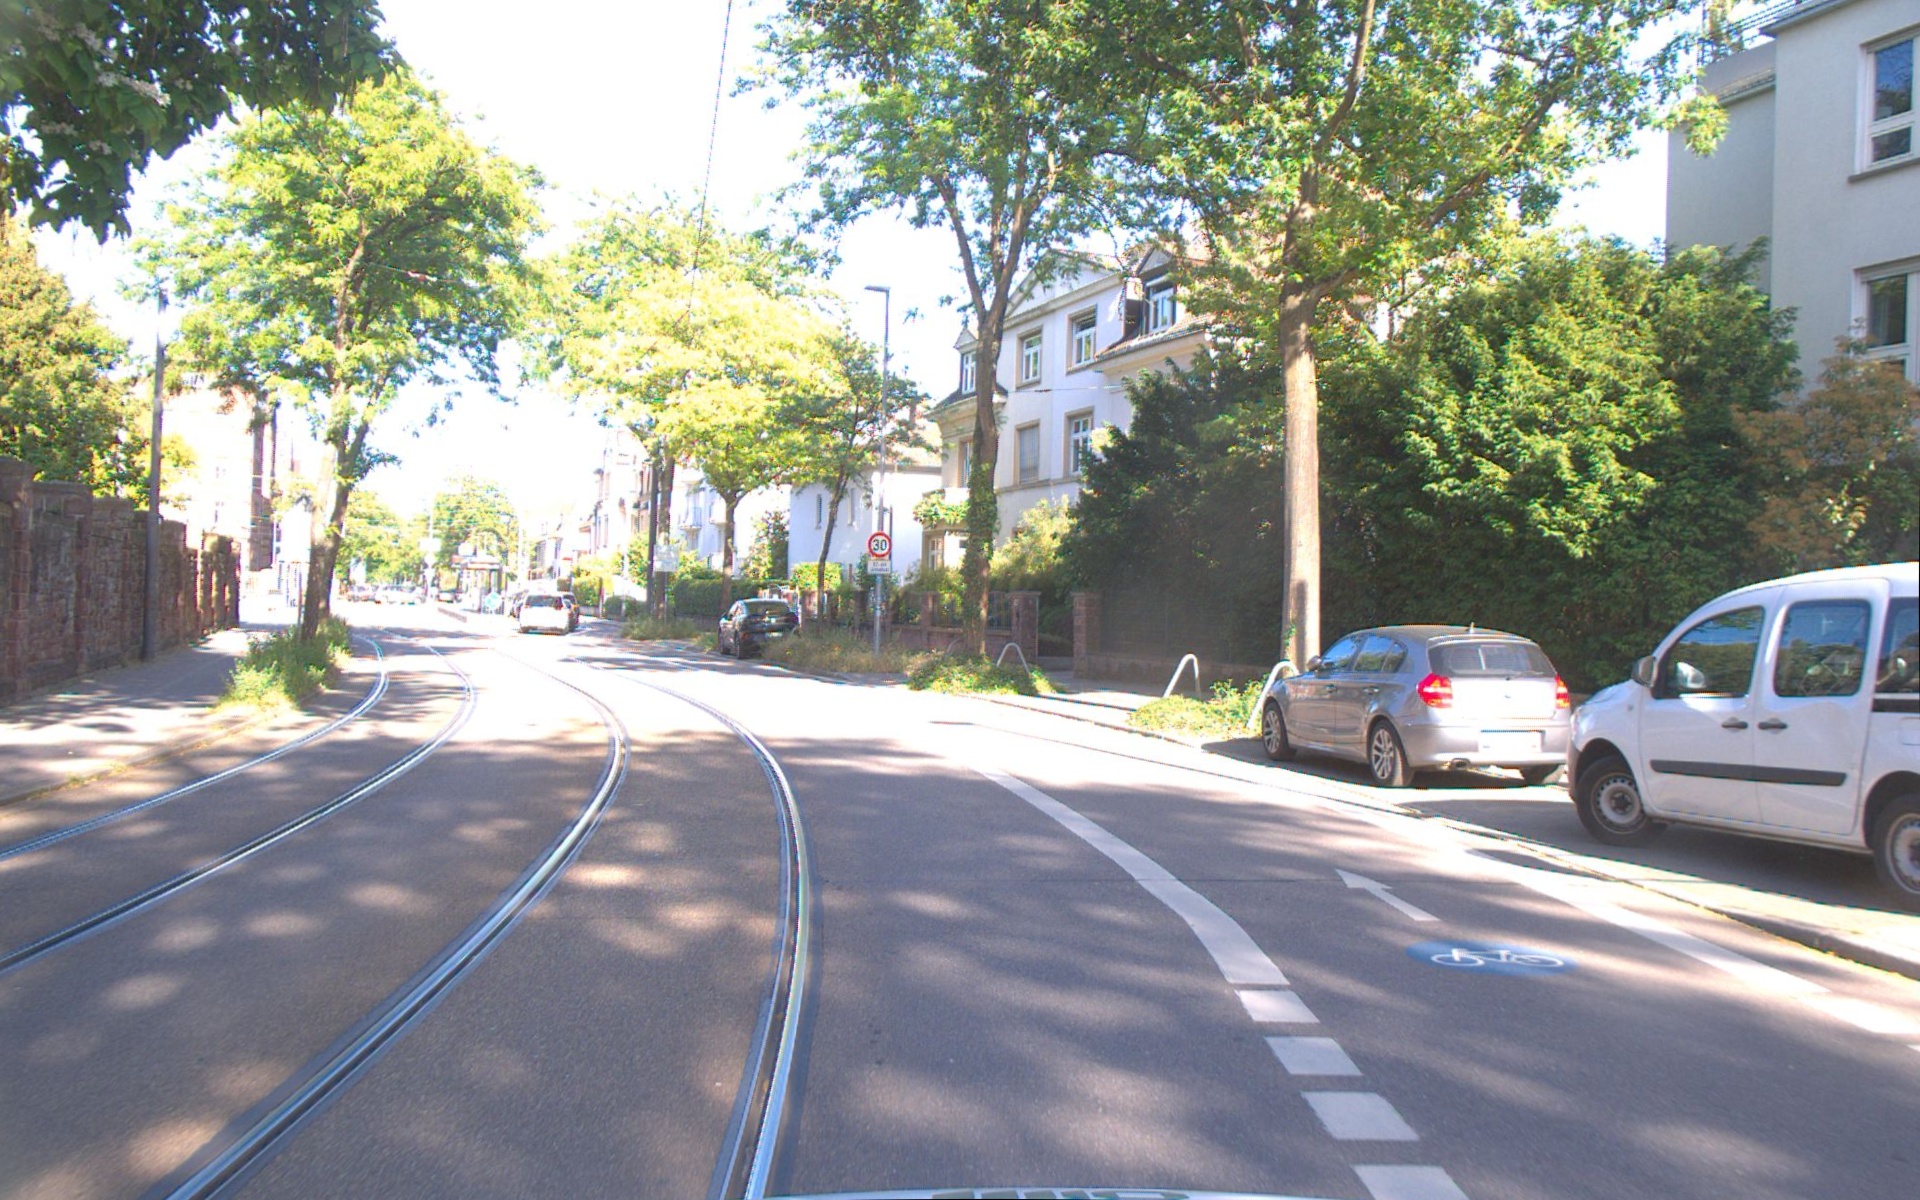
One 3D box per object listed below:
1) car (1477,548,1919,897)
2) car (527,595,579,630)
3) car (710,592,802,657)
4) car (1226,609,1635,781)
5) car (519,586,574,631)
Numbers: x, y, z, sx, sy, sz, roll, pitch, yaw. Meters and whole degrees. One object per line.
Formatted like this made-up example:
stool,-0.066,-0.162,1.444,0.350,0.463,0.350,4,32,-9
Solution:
car,5.426,0.626,10.375,1.988,1.777,4.734,1,0,-14
car,-18.105,0.543,73.730,1.957,1.468,3.991,1,0,-10
car,-6.020,0.664,48.407,1.777,1.723,4.704,-2,1,-18
car,4.409,0.828,16.280,1.960,1.448,4.315,1,-1,-15
car,-16.360,0.374,65.616,1.859,1.639,4.216,1,-2,-11
